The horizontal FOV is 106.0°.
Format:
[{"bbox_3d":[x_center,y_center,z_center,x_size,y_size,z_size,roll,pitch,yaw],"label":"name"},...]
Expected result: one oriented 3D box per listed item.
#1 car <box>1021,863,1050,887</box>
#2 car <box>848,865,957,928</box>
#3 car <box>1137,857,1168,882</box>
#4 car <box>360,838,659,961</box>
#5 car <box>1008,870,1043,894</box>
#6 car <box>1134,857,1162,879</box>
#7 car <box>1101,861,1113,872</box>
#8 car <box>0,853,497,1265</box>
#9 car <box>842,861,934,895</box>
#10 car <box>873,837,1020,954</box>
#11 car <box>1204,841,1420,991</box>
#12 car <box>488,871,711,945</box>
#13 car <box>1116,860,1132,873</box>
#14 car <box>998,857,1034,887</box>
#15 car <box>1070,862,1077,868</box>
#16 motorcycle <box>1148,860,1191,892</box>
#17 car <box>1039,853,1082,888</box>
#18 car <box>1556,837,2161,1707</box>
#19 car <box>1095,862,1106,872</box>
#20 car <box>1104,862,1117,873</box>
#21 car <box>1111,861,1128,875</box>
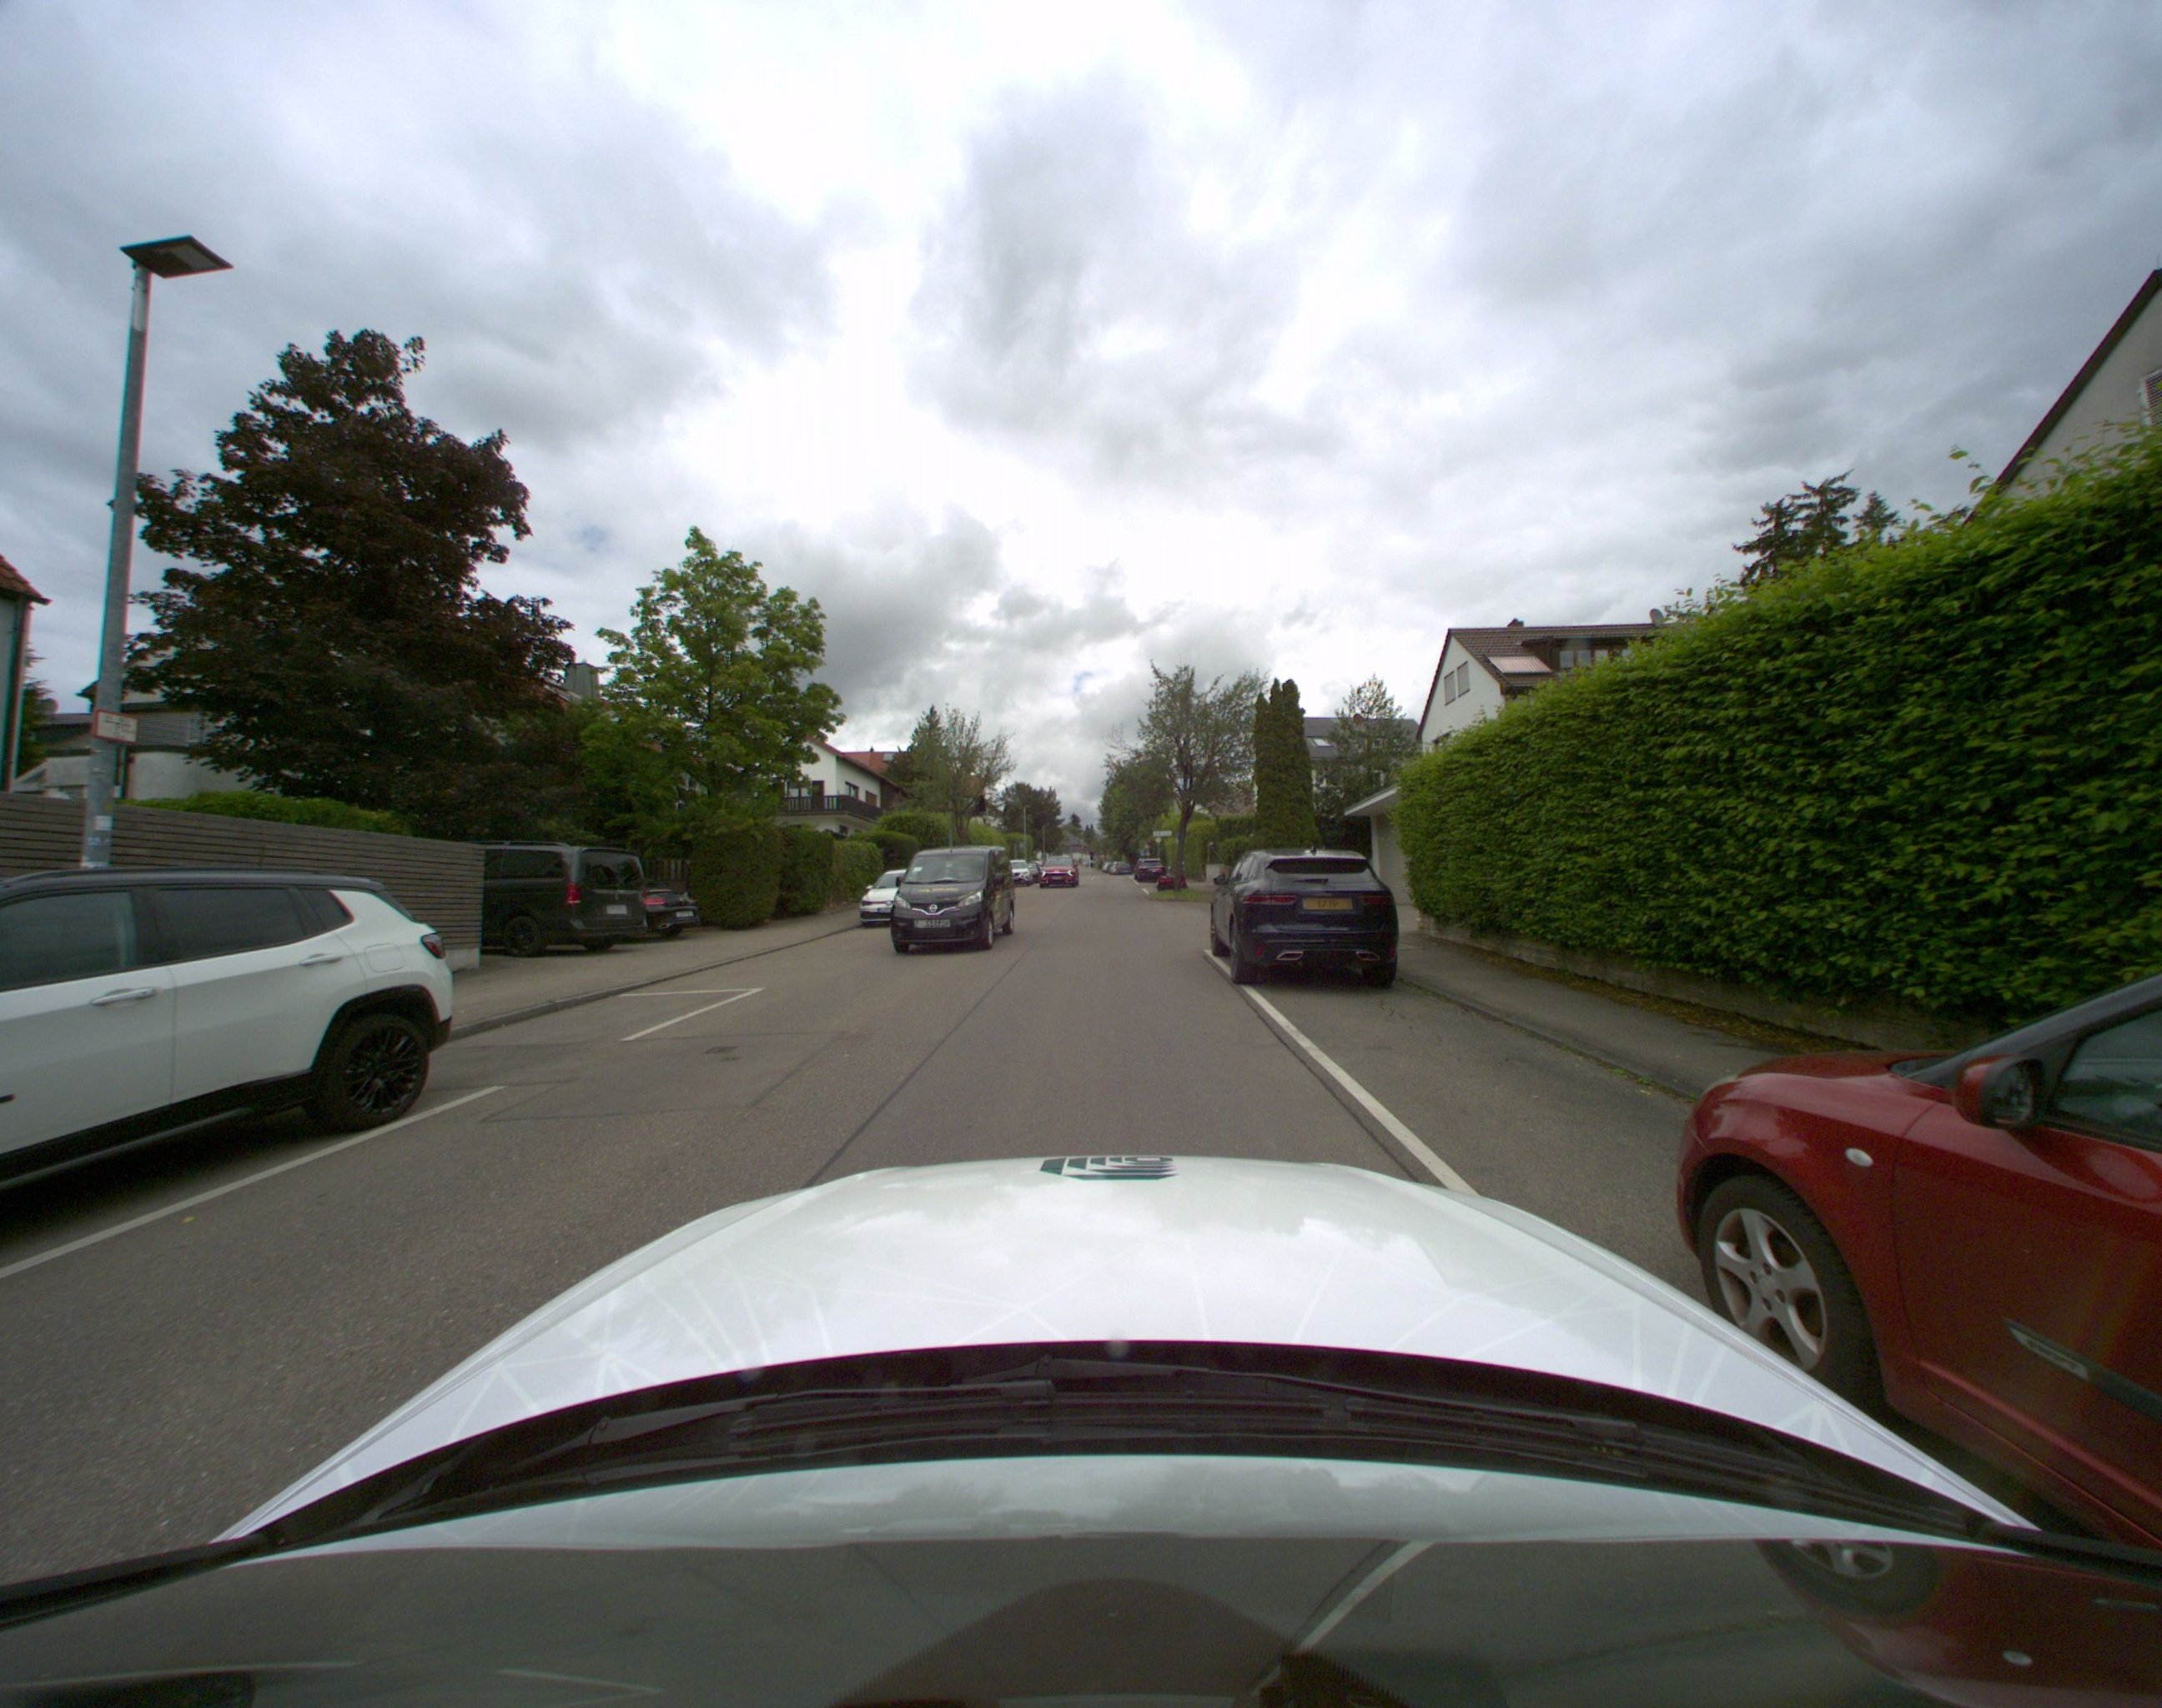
[{"bbox_3d":[-3.207,1.454,57.806,1.624,1.523,3.639,-3,0,2],"label":"car"},{"bbox_3d":[-4.728,1.084,22.223,1.831,1.422,4.409,-3,0,1],"label":"car"},{"bbox_3d":[4.652,0.983,53.465,1.875,1.533,4.478,0,0,3],"label":"car"},{"bbox_3d":[-9.958,0.792,14.366,4.047,1.950,2.005,-2,-2,10],"label":"car"},{"bbox_3d":[-3.558,1.819,52.817,1.756,1.388,4.001,-3,-2,2],"label":"car"},{"bbox_3d":[4.853,1.021,59.540,1.875,1.533,4.478,0,0,3],"label":"car"},{"bbox_3d":[4.048,2.019,128.516,1.660,1.668,3.464,-1,0,-2],"label":"car"},{"bbox_3d":[-5.296,0.876,3.739,1.830,1.666,4.411,-3,0,3],"label":"car"},{"bbox_3d":[-9.399,1.167,39.867,3.967,1.533,1.791,1,0,5],"label":"car"},{"bbox_3d":[-2.372,0.692,15.516,1.878,1.851,4.403,-2,0,1],"label":"car"},{"bbox_3d":[2.887,0.705,11.231,1.985,1.618,4.518,1,-1,4],"label":"car"},{"bbox_3d":[-10.244,1.114,17.416,3.958,1.445,1.786,-1,-1,14],"label":"car"},{"bbox_3d":[5.105,1.471,96.962,1.660,1.501,3.464,-1,0,-2],"label":"car"},{"bbox_3d":[-3.688,0.994,46.876,1.717,1.540,3.999,-2,0,0],"label":"car"},{"bbox_3d":[-2.056,2.915,217.492,1.817,1.420,3.997,-1,0,-2],"label":"car"},{"bbox_3d":[3.903,0.970,35.850,1.876,1.346,0.593,-1,-1,-34],"label":"motorcycle"},{"bbox_3d":[-1.034,0.839,43.162,1.934,1.647,4.260,-3,0,2],"label":"car"},{"bbox_3d":[2.691,0.716,1.392,1.654,1.508,3.760,-1,0,2],"label":"car"},{"bbox_3d":[3.400,2.321,143.466,1.639,1.668,3.464,-1,0,-2],"label":"car"},{"bbox_3d":[4.337,2.014,121.683,1.660,1.501,3.464,-1,0,-2],"label":"car"},{"bbox_3d":[4.772,1.700,101.402,1.709,1.657,3.619,-1,0,-2],"label":"car"}]
